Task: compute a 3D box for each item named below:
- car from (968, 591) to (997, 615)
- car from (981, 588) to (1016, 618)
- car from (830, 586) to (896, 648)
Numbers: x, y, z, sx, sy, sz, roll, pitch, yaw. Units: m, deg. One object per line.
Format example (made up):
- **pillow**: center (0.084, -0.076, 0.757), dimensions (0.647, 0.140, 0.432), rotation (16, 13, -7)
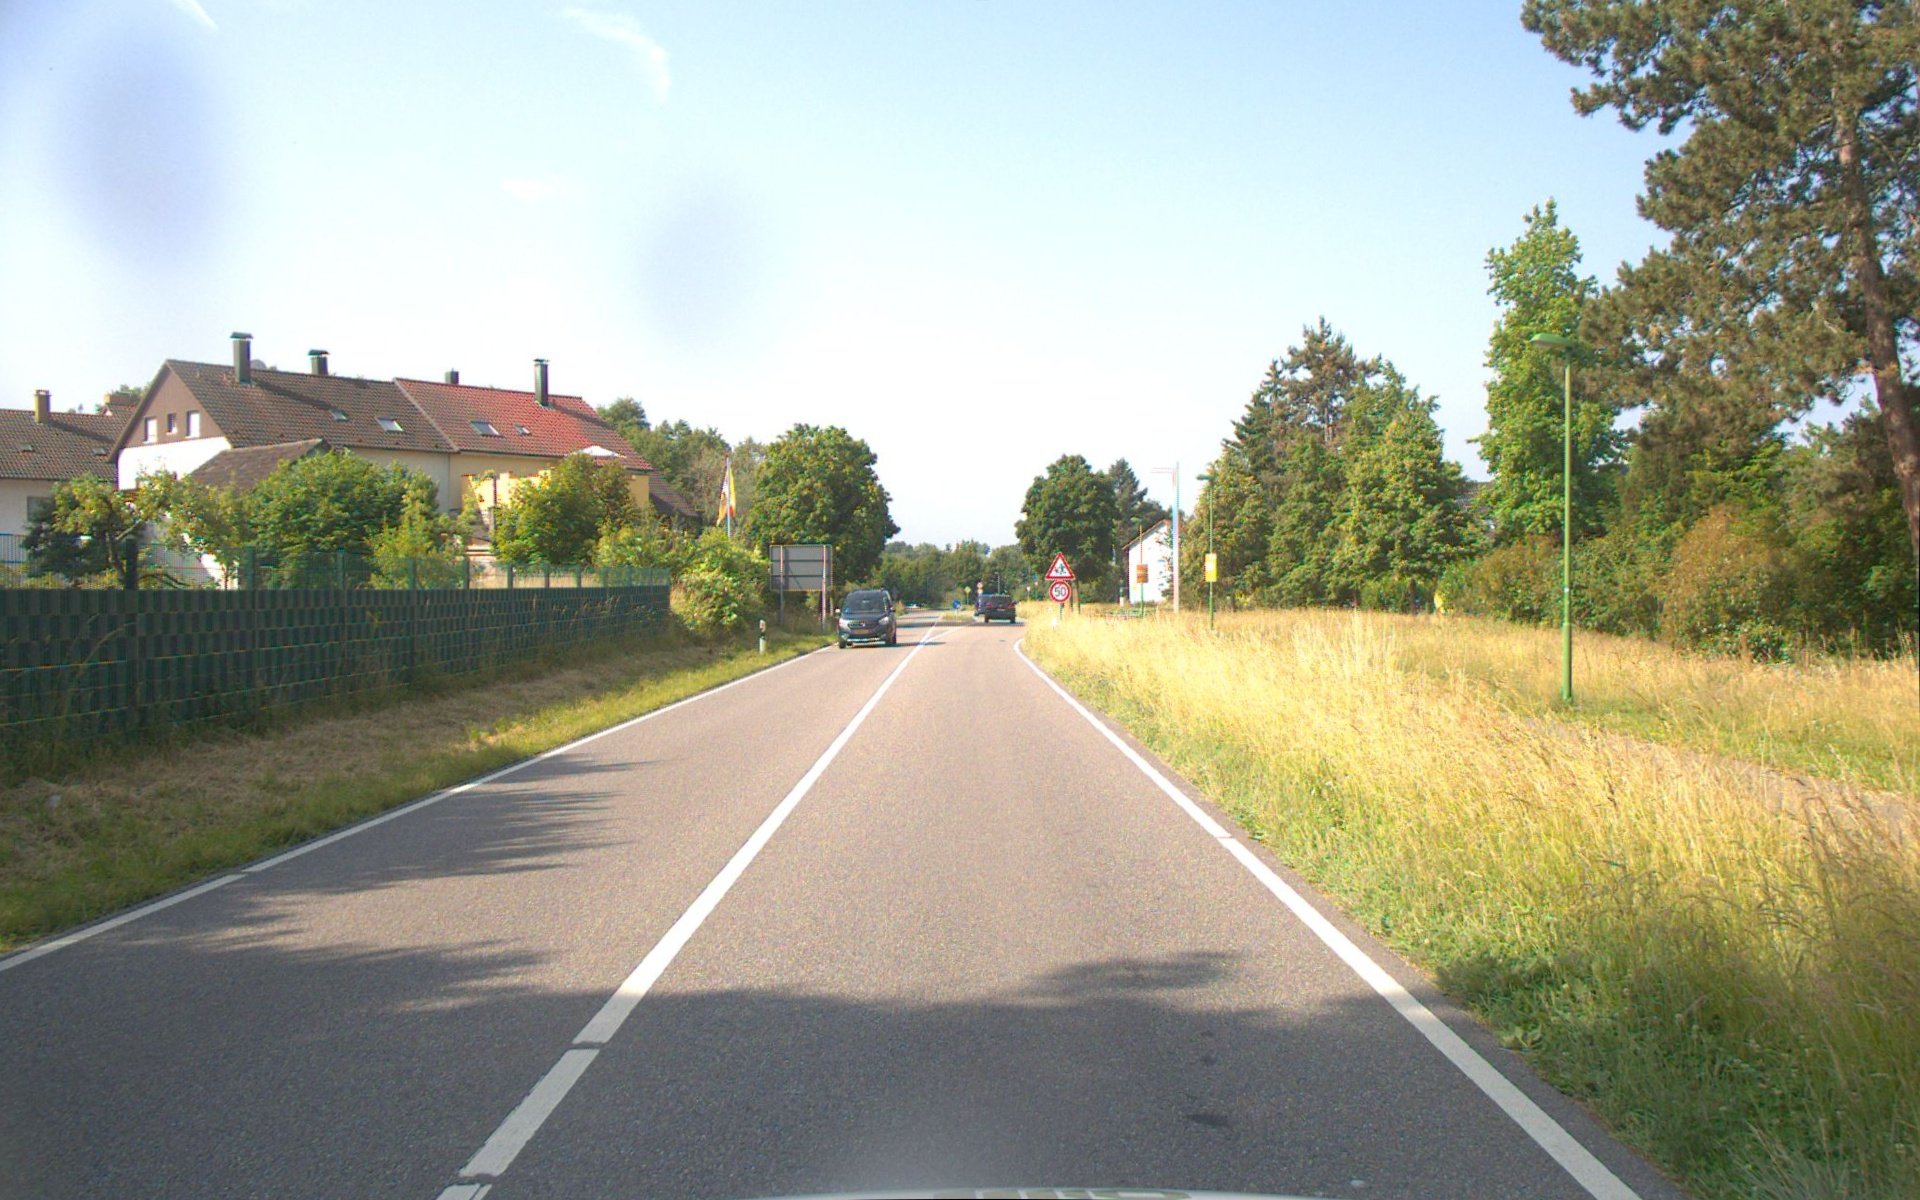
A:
- **car**: center (1.748, 0.237, 128.853), dimensions (1.964, 1.802, 3.997), rotation (0, 1, -4)
- **car**: center (2.349, 0.142, 102.279), dimensions (1.886, 1.802, 3.998), rotation (0, 1, -2)
- **car**: center (-3.083, 0.507, 53.329), dimensions (1.900, 1.849, 4.241), rotation (-2, 0, -1)
